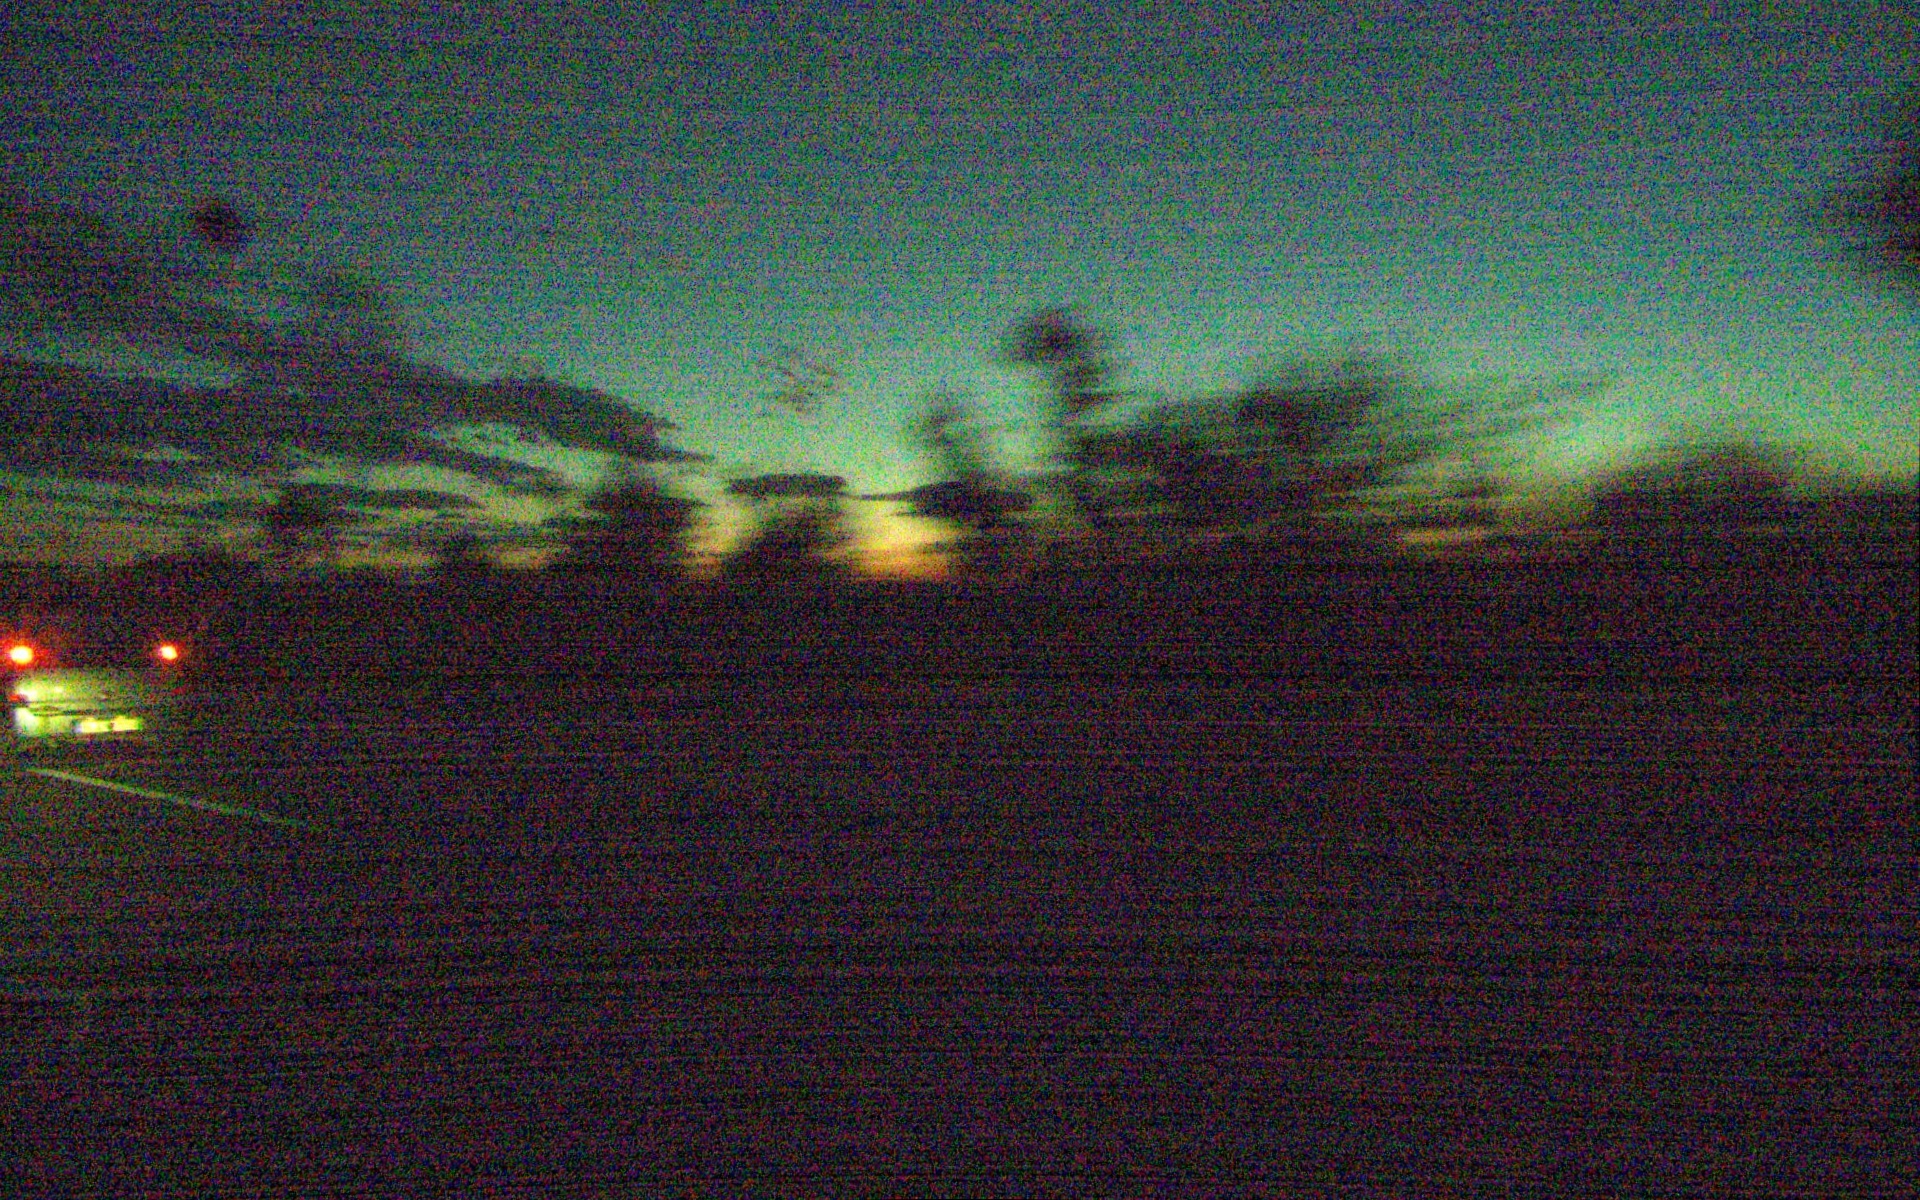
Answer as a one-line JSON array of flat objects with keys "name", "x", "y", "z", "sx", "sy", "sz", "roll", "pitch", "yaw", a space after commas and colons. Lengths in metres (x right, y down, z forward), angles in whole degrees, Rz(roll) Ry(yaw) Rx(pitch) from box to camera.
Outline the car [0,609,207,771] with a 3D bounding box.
[{"name": "car", "x": -10.893, "y": 0.937, "z": 11.900, "sx": 4.445, "sy": 1.617, "sz": 1.643, "roll": -1, "pitch": -1, "yaw": 32}]
